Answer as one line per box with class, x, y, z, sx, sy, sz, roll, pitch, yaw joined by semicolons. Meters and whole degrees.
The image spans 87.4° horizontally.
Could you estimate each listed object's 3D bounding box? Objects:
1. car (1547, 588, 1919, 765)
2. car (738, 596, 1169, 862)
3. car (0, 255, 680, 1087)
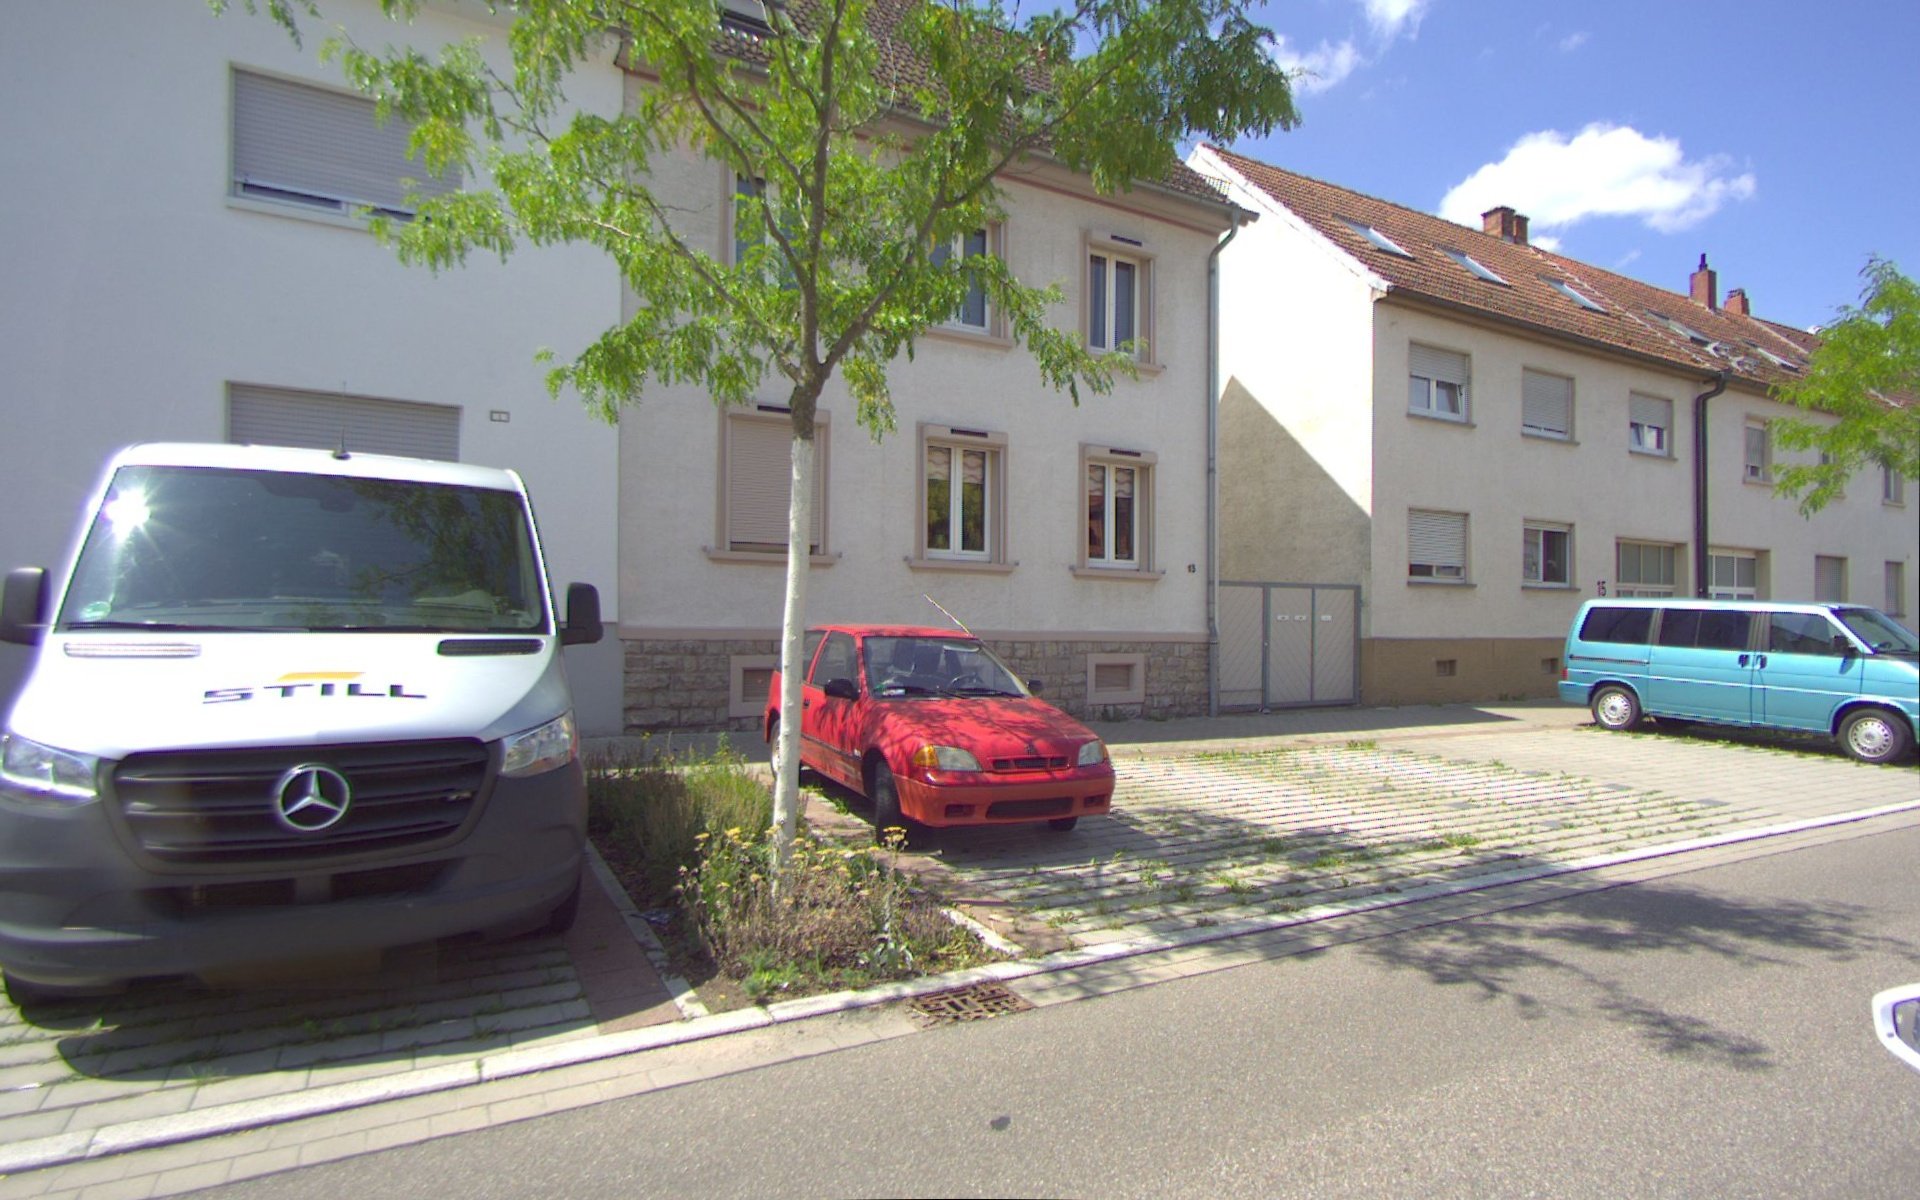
car;10.723;0.874;13.350;1.975;1.932;4.658;2;0;-28
car;-0.320;0.744;7.648;1.704;1.404;3.767;2;0;-28
car;-3.283;0.169;5.426;2.132;2.319;5.140;2;1;-30
